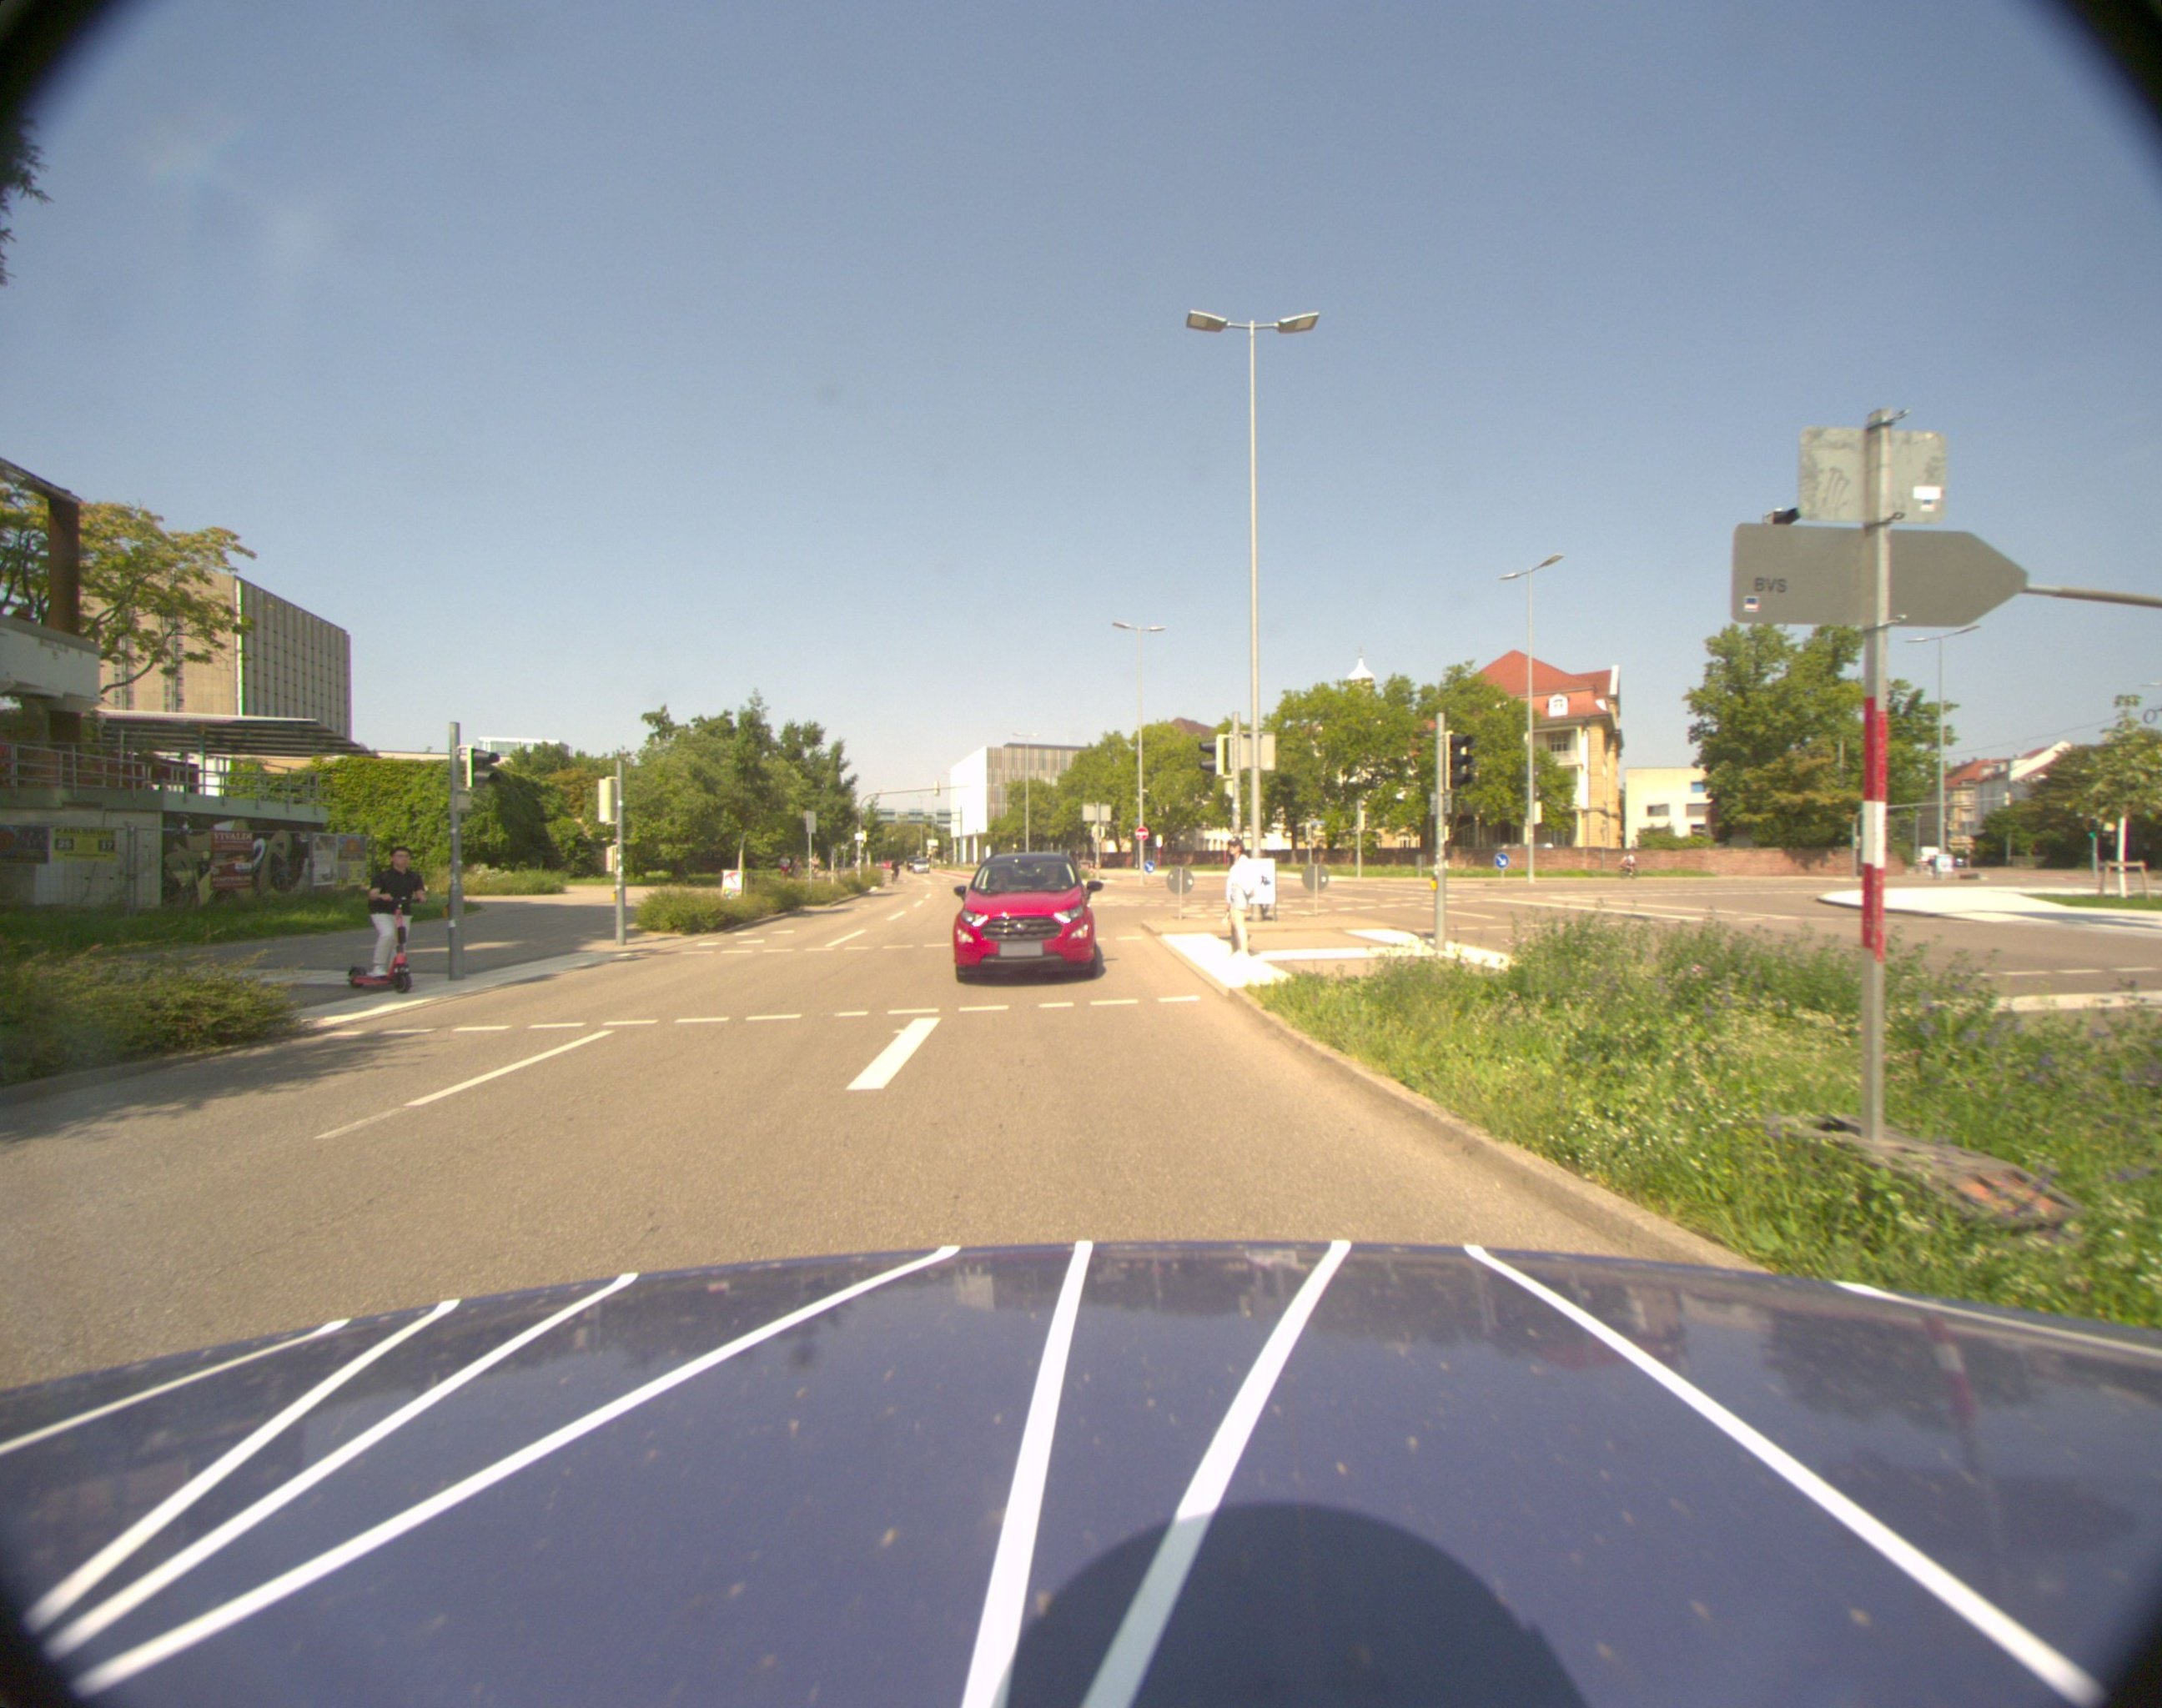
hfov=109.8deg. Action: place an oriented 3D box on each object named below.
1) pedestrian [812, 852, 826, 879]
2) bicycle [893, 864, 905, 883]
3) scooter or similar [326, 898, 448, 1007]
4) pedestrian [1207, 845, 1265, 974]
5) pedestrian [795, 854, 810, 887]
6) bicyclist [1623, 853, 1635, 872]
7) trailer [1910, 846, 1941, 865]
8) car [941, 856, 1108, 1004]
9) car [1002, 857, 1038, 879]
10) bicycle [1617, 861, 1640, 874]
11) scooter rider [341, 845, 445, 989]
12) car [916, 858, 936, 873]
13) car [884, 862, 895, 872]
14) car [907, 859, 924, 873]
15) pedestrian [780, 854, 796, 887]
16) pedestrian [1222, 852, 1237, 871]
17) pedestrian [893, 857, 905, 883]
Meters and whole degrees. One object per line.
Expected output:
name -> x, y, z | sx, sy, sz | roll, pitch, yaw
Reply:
pedestrian -> -17.047, 0.741, 49.444 | 0.794, 1.758, 0.825 | 0, 0, -14
bicycle -> -11.936, 1.239, 49.794 | 0.787, 1.205, 1.787 | 0, 0, -14
scooter or similar -> -8.754, 1.207, 9.585 | 1.364, 1.227, 0.586 | 1, 1, 22
pedestrian -> 2.100, 0.722, 10.265 | 0.699, 1.685, 0.608 | 0, 0, 18
pedestrian -> -15.255, 0.885, 41.569 | 0.694, 1.761, 0.587 | 0, 0, -14
bicyclist -> 35.597, 0.519, 49.343 | 0.541, 1.226, 0.432 | 0, 0, -21
trailer -> 143.401, 0.237, 129.087 | 2.435, 3.268, 5.099 | 0, 0, 34
car -> -0.798, 0.856, 10.581 | 1.845, 1.605, 3.998 | -2, 0, -5
car -> -4.192, 0.917, 51.705 | 1.793, 1.349, 3.419 | -2, 0, -15
bicycle -> 35.541, 0.869, 49.324 | 1.487, 0.807, 0.436 | 0, 1, -21
scooter rider -> -8.693, 0.757, 9.612 | 0.803, 1.729, 0.690 | 1, 1, 22
car -> -17.644, 1.275, 86.340 | 2.001, 1.669, 3.995 | -1, 0, -15
car -> -35.354, 2.429, 140.181 | 2.001, 1.769, 3.995 | -1, 0, -15
car -> -22.358, 1.609, 102.476 | 2.001, 1.769, 3.995 | -1, 0, -15
pedestrian -> -15.932, 0.887, 41.311 | 0.694, 1.761, 0.587 | 0, 0, -14
pedestrian -> 16.395, 0.824, 83.950 | 1.074, 2.002, 1.231 | 0, 0, -38
pedestrian -> -11.924, 1.030, 49.751 | 0.781, 1.659, 0.548 | 0, 0, -14
